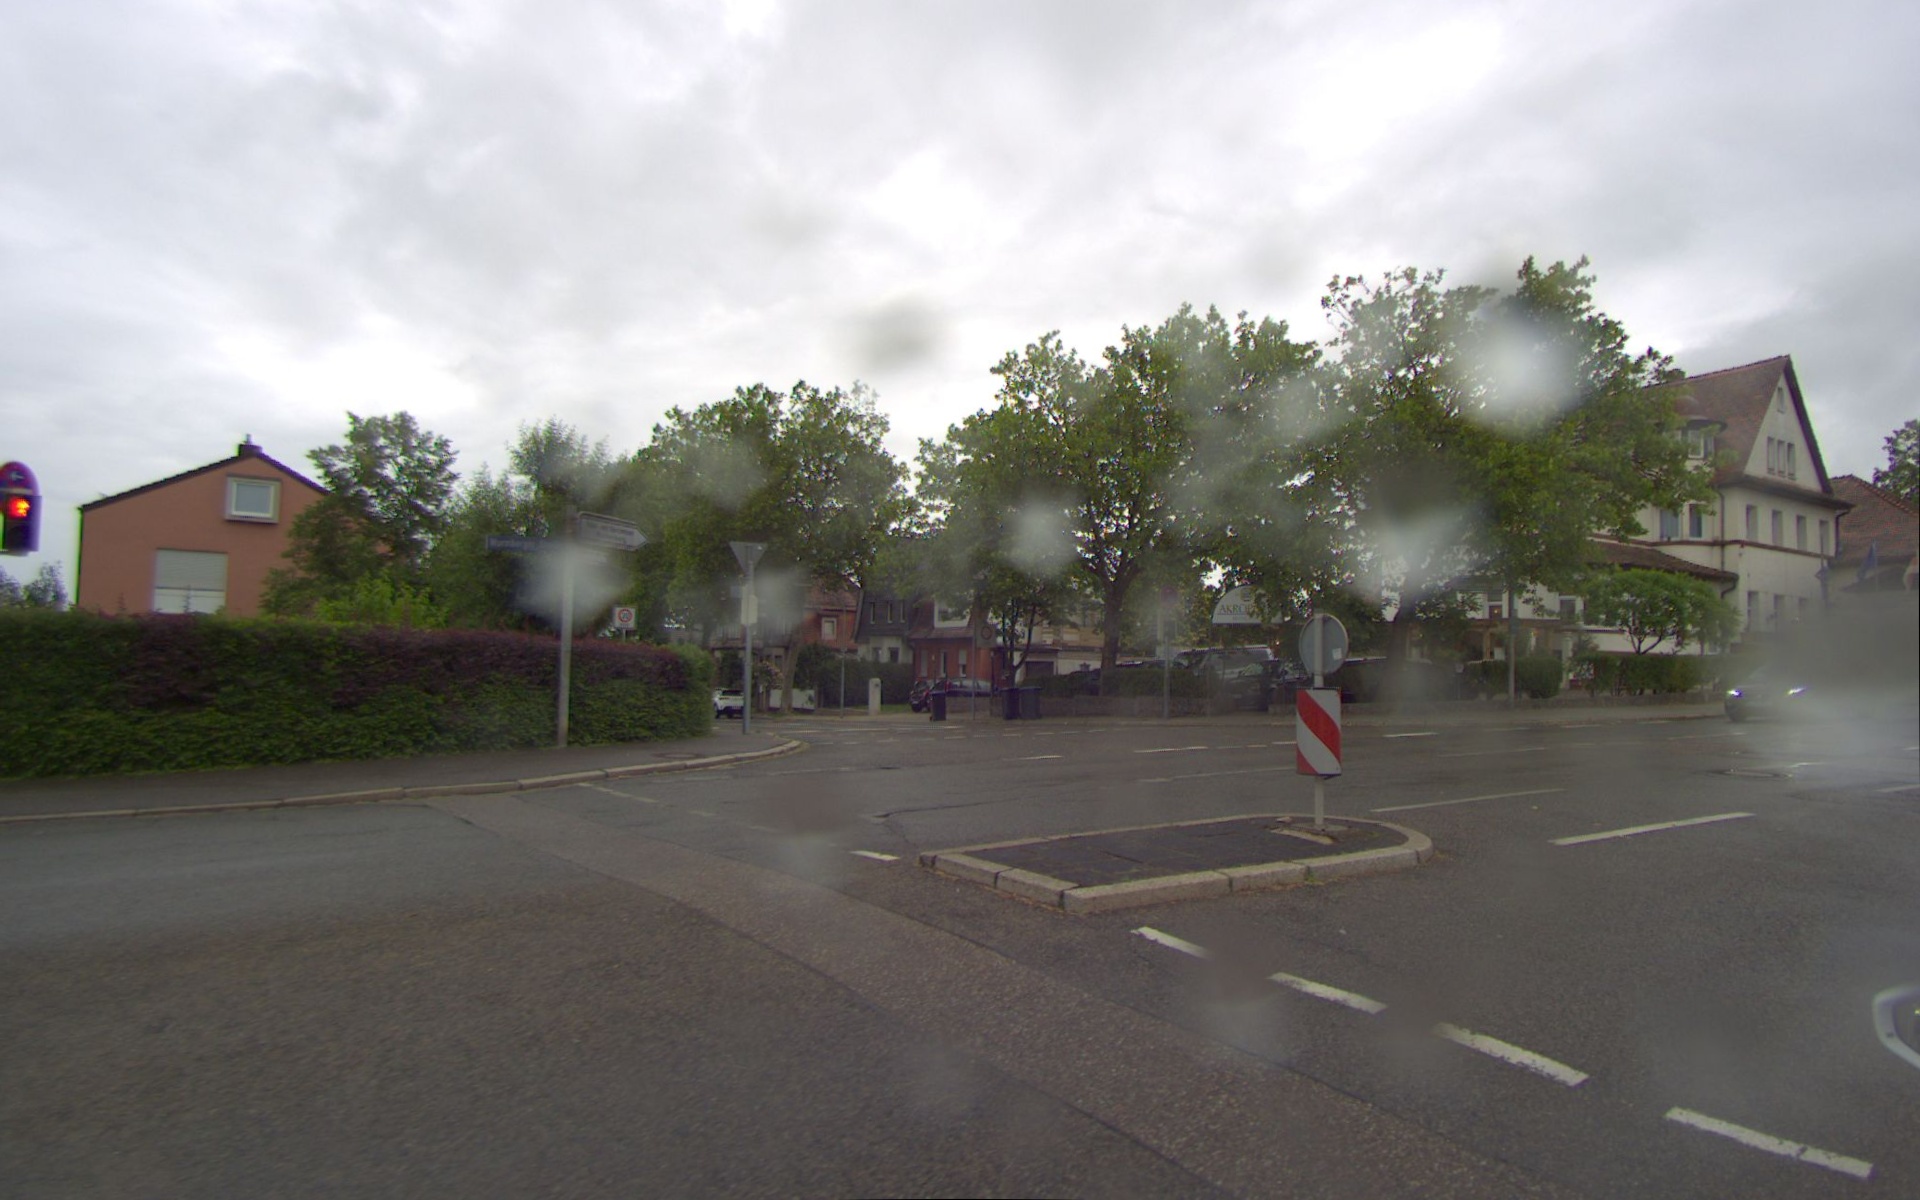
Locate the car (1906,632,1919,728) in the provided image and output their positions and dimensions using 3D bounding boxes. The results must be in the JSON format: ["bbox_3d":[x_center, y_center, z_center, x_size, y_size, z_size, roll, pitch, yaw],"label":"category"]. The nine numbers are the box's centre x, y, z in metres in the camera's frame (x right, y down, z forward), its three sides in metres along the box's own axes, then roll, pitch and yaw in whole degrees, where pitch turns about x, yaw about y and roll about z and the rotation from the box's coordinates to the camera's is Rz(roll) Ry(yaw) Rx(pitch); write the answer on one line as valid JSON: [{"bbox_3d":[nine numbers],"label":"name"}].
[{"bbox_3d":[18.266,1.365,17.842,4.472,1.598,1.881,2,-3,-44],"label":"car"}]

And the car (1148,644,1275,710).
[{"bbox_3d":[8.336,2.491,33.171,3.954,1.786,1.799,-2,1,-31],"label":"car"}]

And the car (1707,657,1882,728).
[{"bbox_3d":[19.705,2.115,23.681,4.367,1.446,1.898,1,-3,-32],"label":"car"}]

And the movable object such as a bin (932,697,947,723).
[{"bbox_3d":[-0.752,4.017,36.775,0.446,0.917,0.450,2,-1,-13],"label":"movable object such as a bin"}]

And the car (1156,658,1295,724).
[{"bbox_3d":[7.982,2.676,30.167,3.954,1.573,1.799,-2,1,-31],"label":"car"}]

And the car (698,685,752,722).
[{"bbox_3d":[-12.179,5.335,51.968,1.691,1.831,3.655,2,-6,-31],"label":"car"}]

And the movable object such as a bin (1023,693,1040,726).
[{"bbox_3d":[2.356,3.599,33.062,0.404,1.057,0.450,2,-1,-13],"label":"movable object such as a bin"}]

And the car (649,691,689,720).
[{"bbox_3d":[-19.807,7.166,68.353,1.691,1.651,3.653,2,-2,-31],"label":"car"}]

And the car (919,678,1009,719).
[{"bbox_3d":[0.176,4.217,43.189,3.457,1.574,1.799,2,-2,-30],"label":"car"}]
